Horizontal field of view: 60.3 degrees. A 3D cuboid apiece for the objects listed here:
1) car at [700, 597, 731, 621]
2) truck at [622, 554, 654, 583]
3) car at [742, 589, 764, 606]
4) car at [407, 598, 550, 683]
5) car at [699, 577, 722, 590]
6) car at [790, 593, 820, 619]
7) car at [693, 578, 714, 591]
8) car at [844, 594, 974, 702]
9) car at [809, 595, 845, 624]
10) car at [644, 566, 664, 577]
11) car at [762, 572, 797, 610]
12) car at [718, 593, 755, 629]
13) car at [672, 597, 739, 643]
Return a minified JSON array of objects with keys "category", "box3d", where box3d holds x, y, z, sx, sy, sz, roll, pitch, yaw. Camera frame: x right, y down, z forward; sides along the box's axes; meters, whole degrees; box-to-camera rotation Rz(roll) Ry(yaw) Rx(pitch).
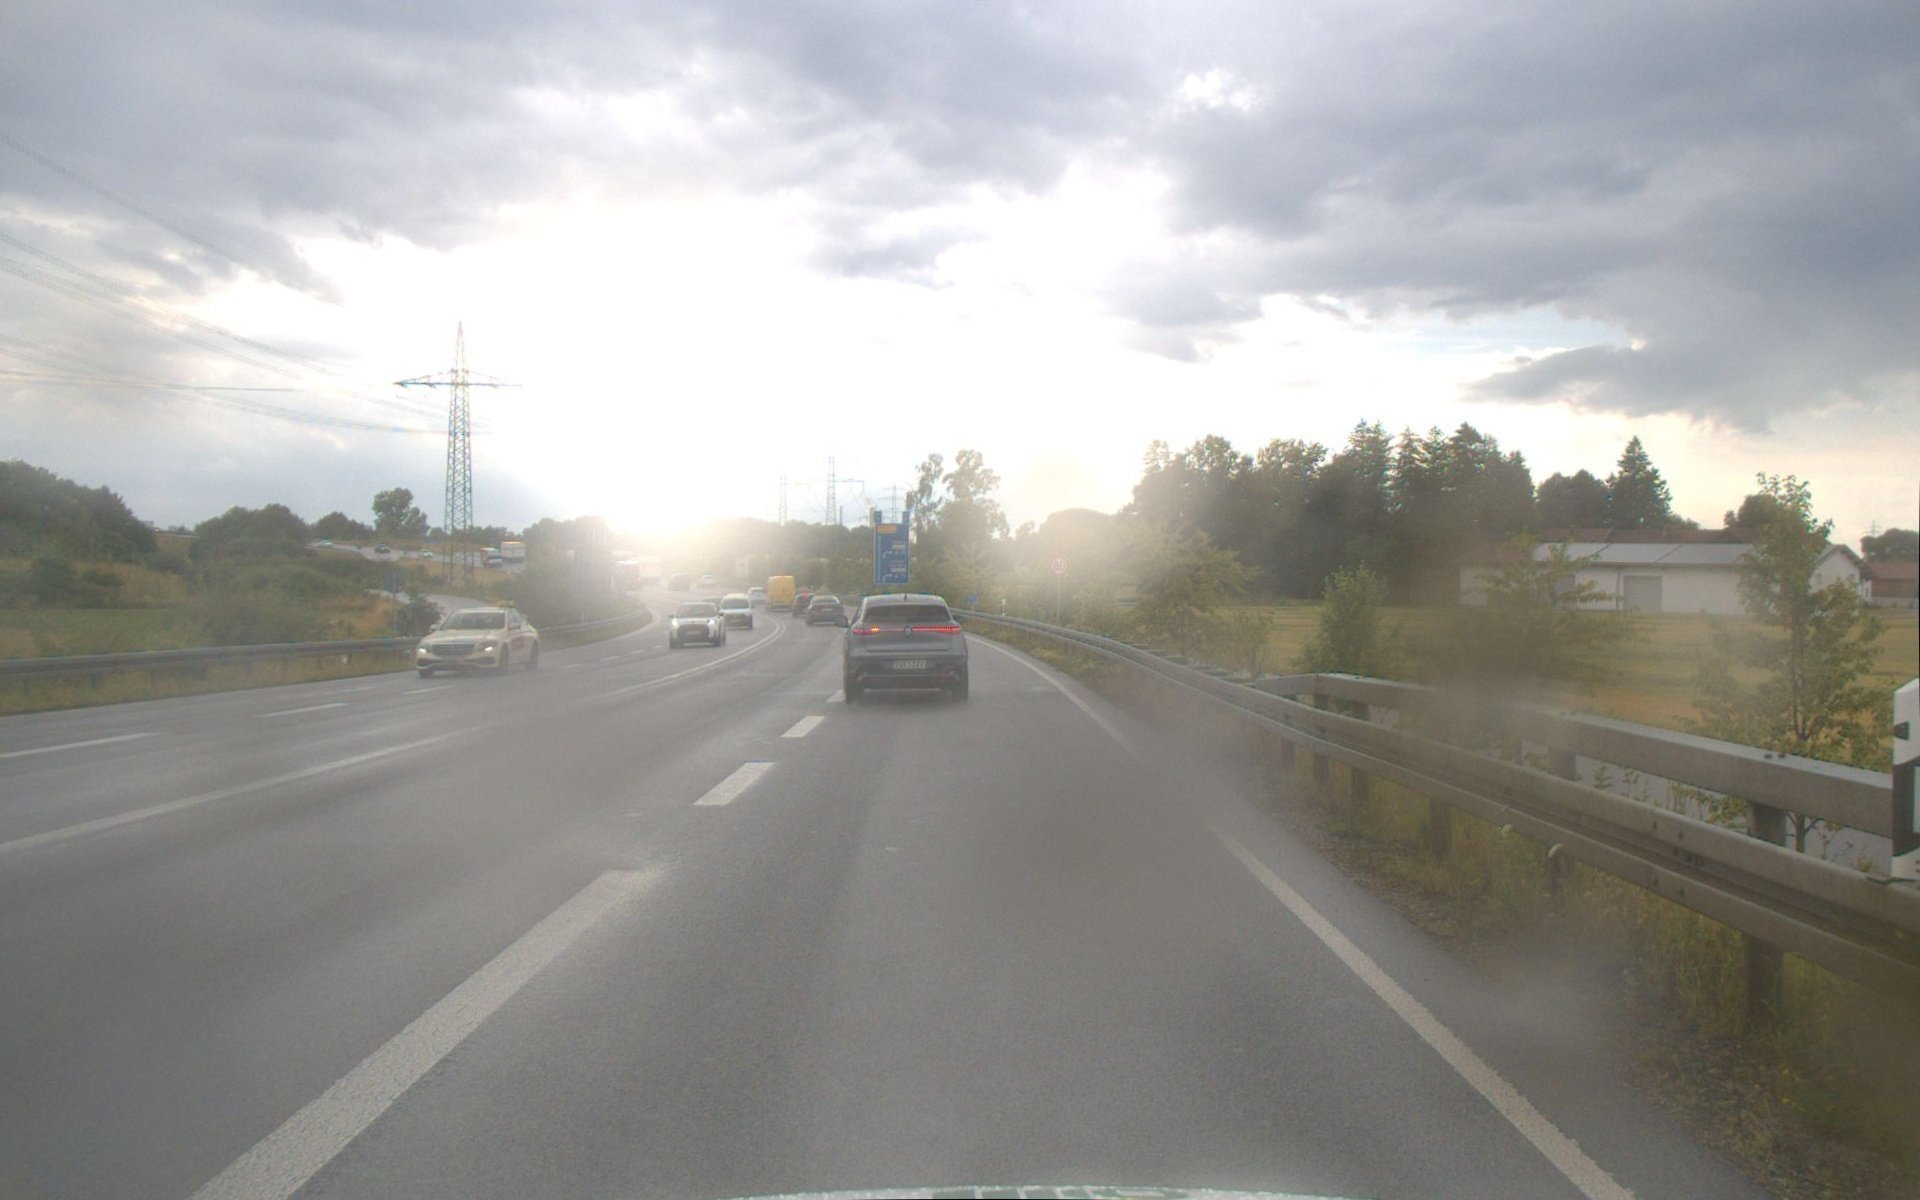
[{"category":"car","box3d":[-16.052,0.567,108.593,1.861,1.466,4.890,-2,0,-9]},{"category":"truck","box3d":[-39.833,-3.851,204.558,2.447,3.349,7.231,-3,2,-22]},{"category":"car","box3d":[-18.189,-0.229,145.333,1.758,1.466,3.993,-1,1,-8]},{"category":"car","box3d":[-10.738,0.856,37.252,1.904,1.689,4.645,2,0,-1]},{"category":"car","box3d":[-30.598,-2.004,202.636,1.767,1.466,3.972,2,0,-23]},{"category":"car","box3d":[-9.790,0.360,104.469,1.757,1.568,3.994,2,0,-7]},{"category":"car","box3d":[-31.401,-1.909,202.493,1.766,1.466,3.975,2,0,-21]},{"category":"car","box3d":[-0.734,0.657,24.602,1.755,1.466,3.999,-1,0,-1]},{"category":"car","box3d":[-6.911,0.470,85.868,1.757,1.466,3.994,0,0,-6]},{"category":"car","box3d":[-40.336,-3.757,217.801,1.768,1.466,3.972,-1,2,-23]},{"category":"car","box3d":[-13.529,-0.651,123.463,2.524,2.773,7.185,0,0,-7]},{"category":"car","box3d":[-11.343,0.532,84.002,1.757,1.695,4.362,2,0,-8]},{"category":"car","box3d":[-8.862,0.669,57.855,1.730,1.526,4.209,0,0,-1]}]
